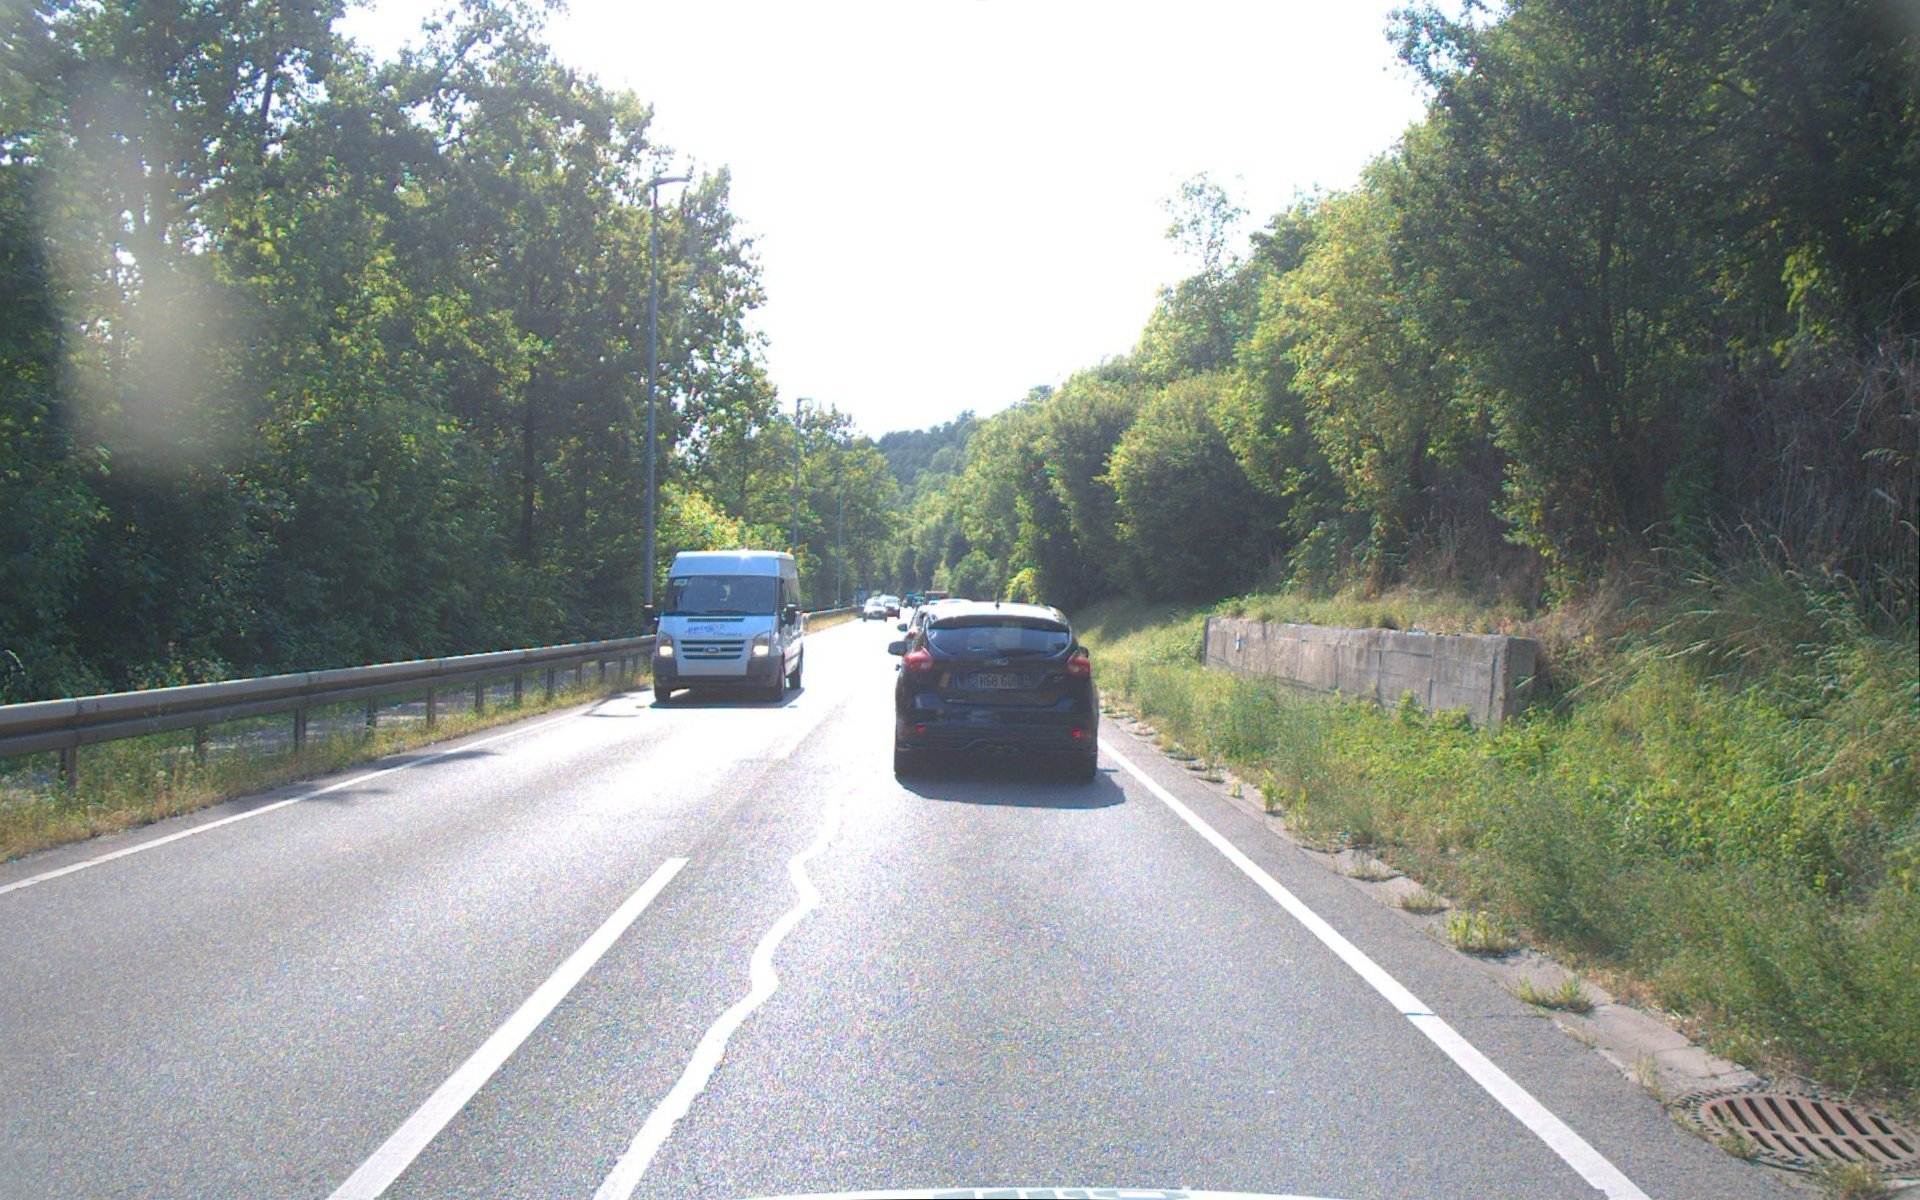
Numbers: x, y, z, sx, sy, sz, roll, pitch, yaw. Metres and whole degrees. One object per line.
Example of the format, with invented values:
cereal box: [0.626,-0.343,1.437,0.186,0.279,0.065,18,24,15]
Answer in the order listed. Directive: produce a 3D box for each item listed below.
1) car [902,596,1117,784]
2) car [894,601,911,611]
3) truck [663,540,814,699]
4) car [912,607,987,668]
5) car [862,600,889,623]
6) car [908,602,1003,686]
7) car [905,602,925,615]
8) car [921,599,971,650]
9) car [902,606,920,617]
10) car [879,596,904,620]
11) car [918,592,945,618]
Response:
car: [0.371,0.733,15.287,1.704,1.482,3.999,1,0,-1]
car: [-8.406,0.883,241.798,1.956,1.545,3.992,0,0,-8]
truck: [-3.664,0.293,28.348,2.016,2.427,5.870,0,0,-2]
car: [-0.268,0.888,40.819,1.768,1.416,3.999,0,0,-1]
car: [-5.642,0.735,110.983,1.647,1.467,3.999,0,0,-1]
car: [-0.061,0.761,30.439,1.627,1.443,4.000,0,0,0]
car: [-5.647,1.033,207.403,1.956,1.545,3.992,0,0,-8]
car: [-0.479,0.768,54.421,1.597,1.624,3.999,0,0,-1]
car: [-6.780,1.545,228.739,1.956,1.545,3.992,0,0,-8]
car: [-5.204,0.597,126.060,1.712,1.747,4.220,0,0,-1]
car: [-2.012,0.371,117.470,1.825,1.812,4.000,0,0,0]
